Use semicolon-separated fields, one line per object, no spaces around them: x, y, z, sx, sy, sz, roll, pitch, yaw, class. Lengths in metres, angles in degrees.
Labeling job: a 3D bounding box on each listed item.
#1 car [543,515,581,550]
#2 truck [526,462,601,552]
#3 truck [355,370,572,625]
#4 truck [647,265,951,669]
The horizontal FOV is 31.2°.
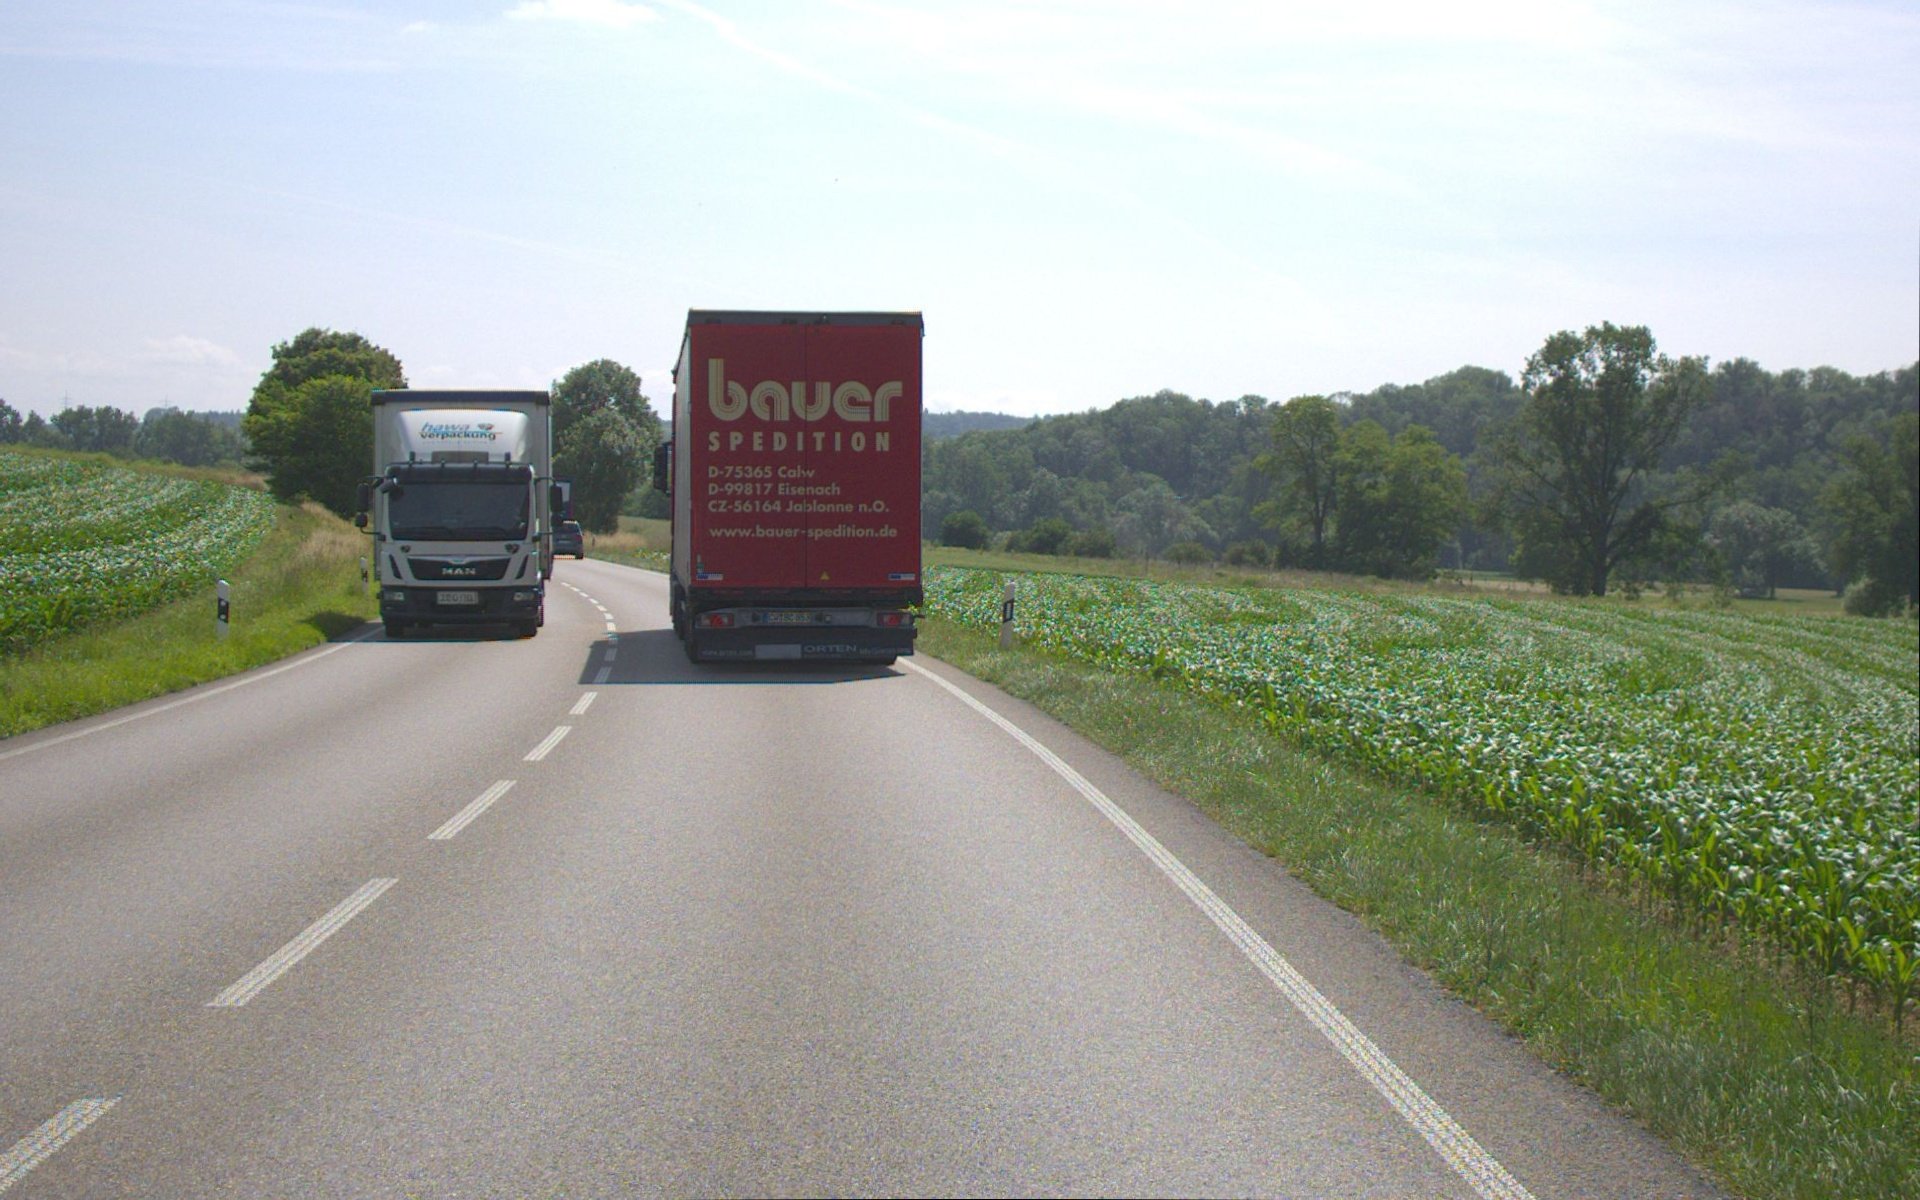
-17.329;-2.943;149.613;1.581;1.496;3.877;1;1;-8;car
-20.012;-4.627;173.492;3.639;4.277;11.988;0;0;-7;truck
-7.553;-1.539;53.361;2.741;3.566;9.729;1;1;-5;truck
-2.097;-1.474;40.996;3.094;4.248;8.316;1;1;-6;truck
